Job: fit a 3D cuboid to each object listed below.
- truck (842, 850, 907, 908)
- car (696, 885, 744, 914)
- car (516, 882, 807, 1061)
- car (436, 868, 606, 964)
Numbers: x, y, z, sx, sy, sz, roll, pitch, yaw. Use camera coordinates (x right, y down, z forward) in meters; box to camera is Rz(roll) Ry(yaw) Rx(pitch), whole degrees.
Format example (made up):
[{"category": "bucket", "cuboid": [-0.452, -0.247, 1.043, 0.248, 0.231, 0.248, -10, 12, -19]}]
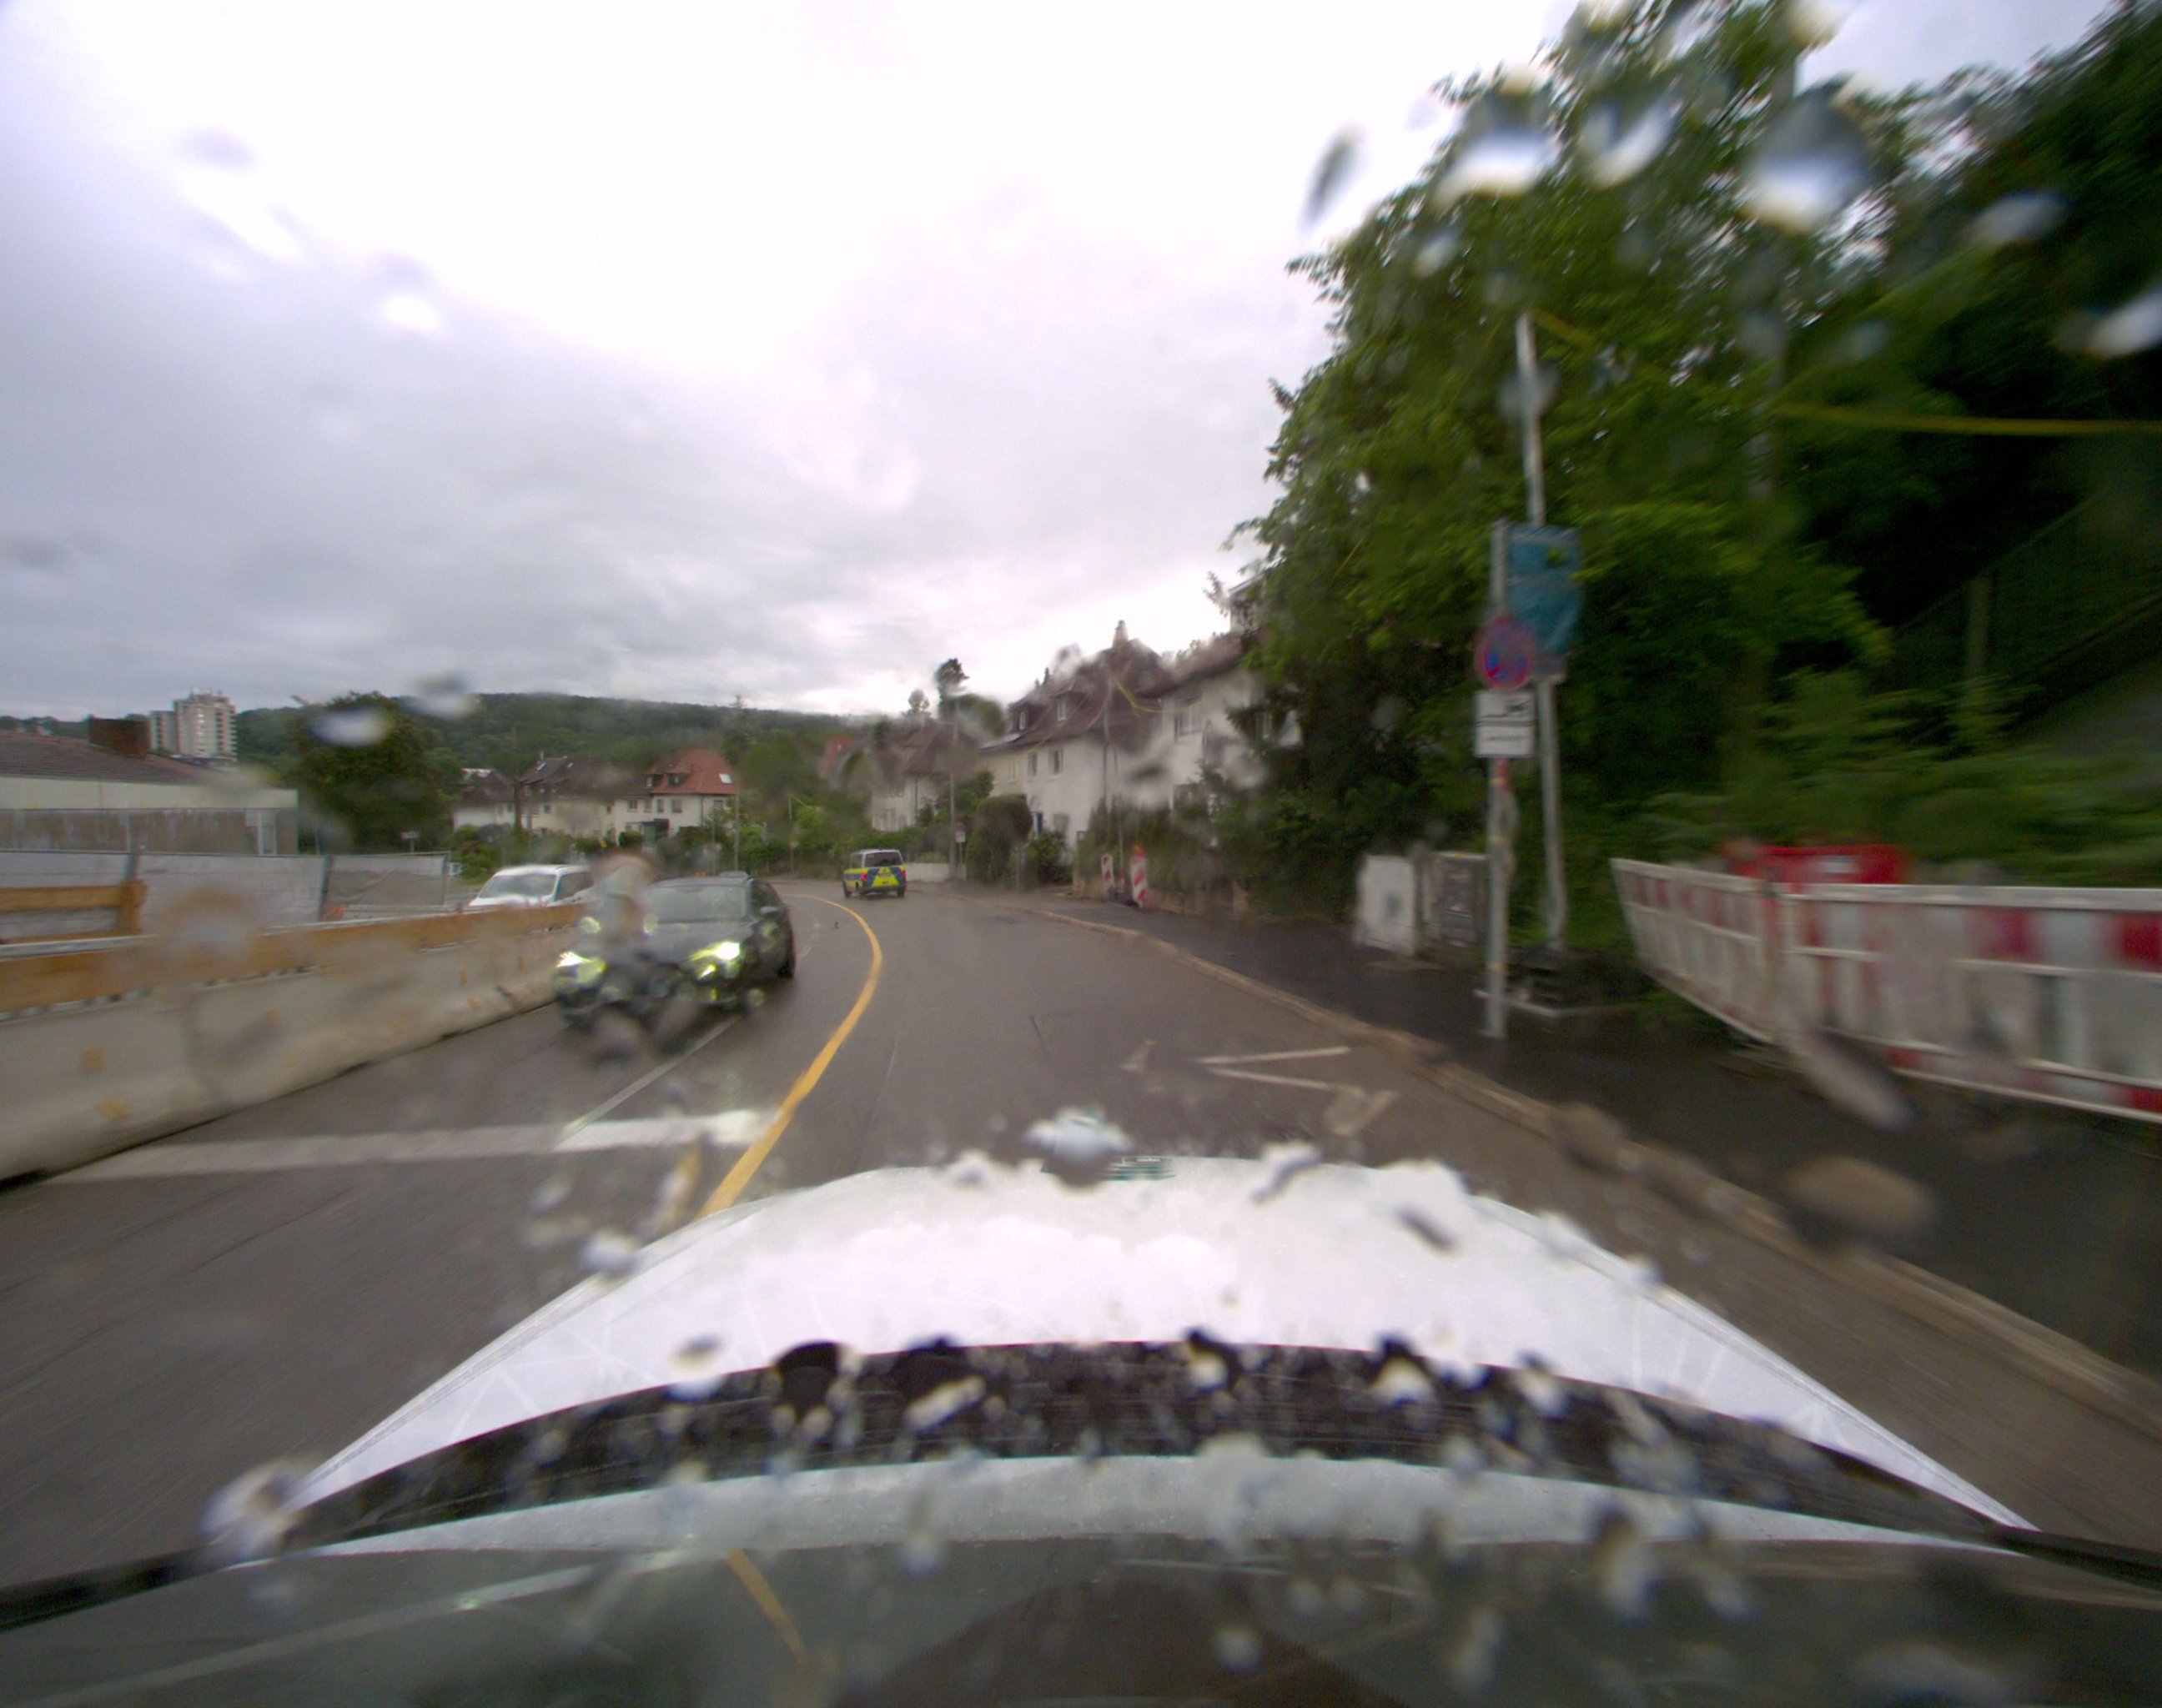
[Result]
[{"category": "truck", "cuboid": [-8.781, 0.975, 34.345, 2.002, 2.013, 4.700, -2, 3, -22]}, {"category": "car", "cuboid": [-19.087, 2.391, 42.926, 1.659, 1.311, 4.219, -4, 0, -32]}, {"category": "car", "cuboid": [-4.400, 1.093, 9.349, 1.784, 1.403, 4.349, 0, 0, -11]}, {"category": "car", "cuboid": [-13.587, 1.396, 20.157, 1.998, 2.014, 4.780, 1, -1, -16]}]
